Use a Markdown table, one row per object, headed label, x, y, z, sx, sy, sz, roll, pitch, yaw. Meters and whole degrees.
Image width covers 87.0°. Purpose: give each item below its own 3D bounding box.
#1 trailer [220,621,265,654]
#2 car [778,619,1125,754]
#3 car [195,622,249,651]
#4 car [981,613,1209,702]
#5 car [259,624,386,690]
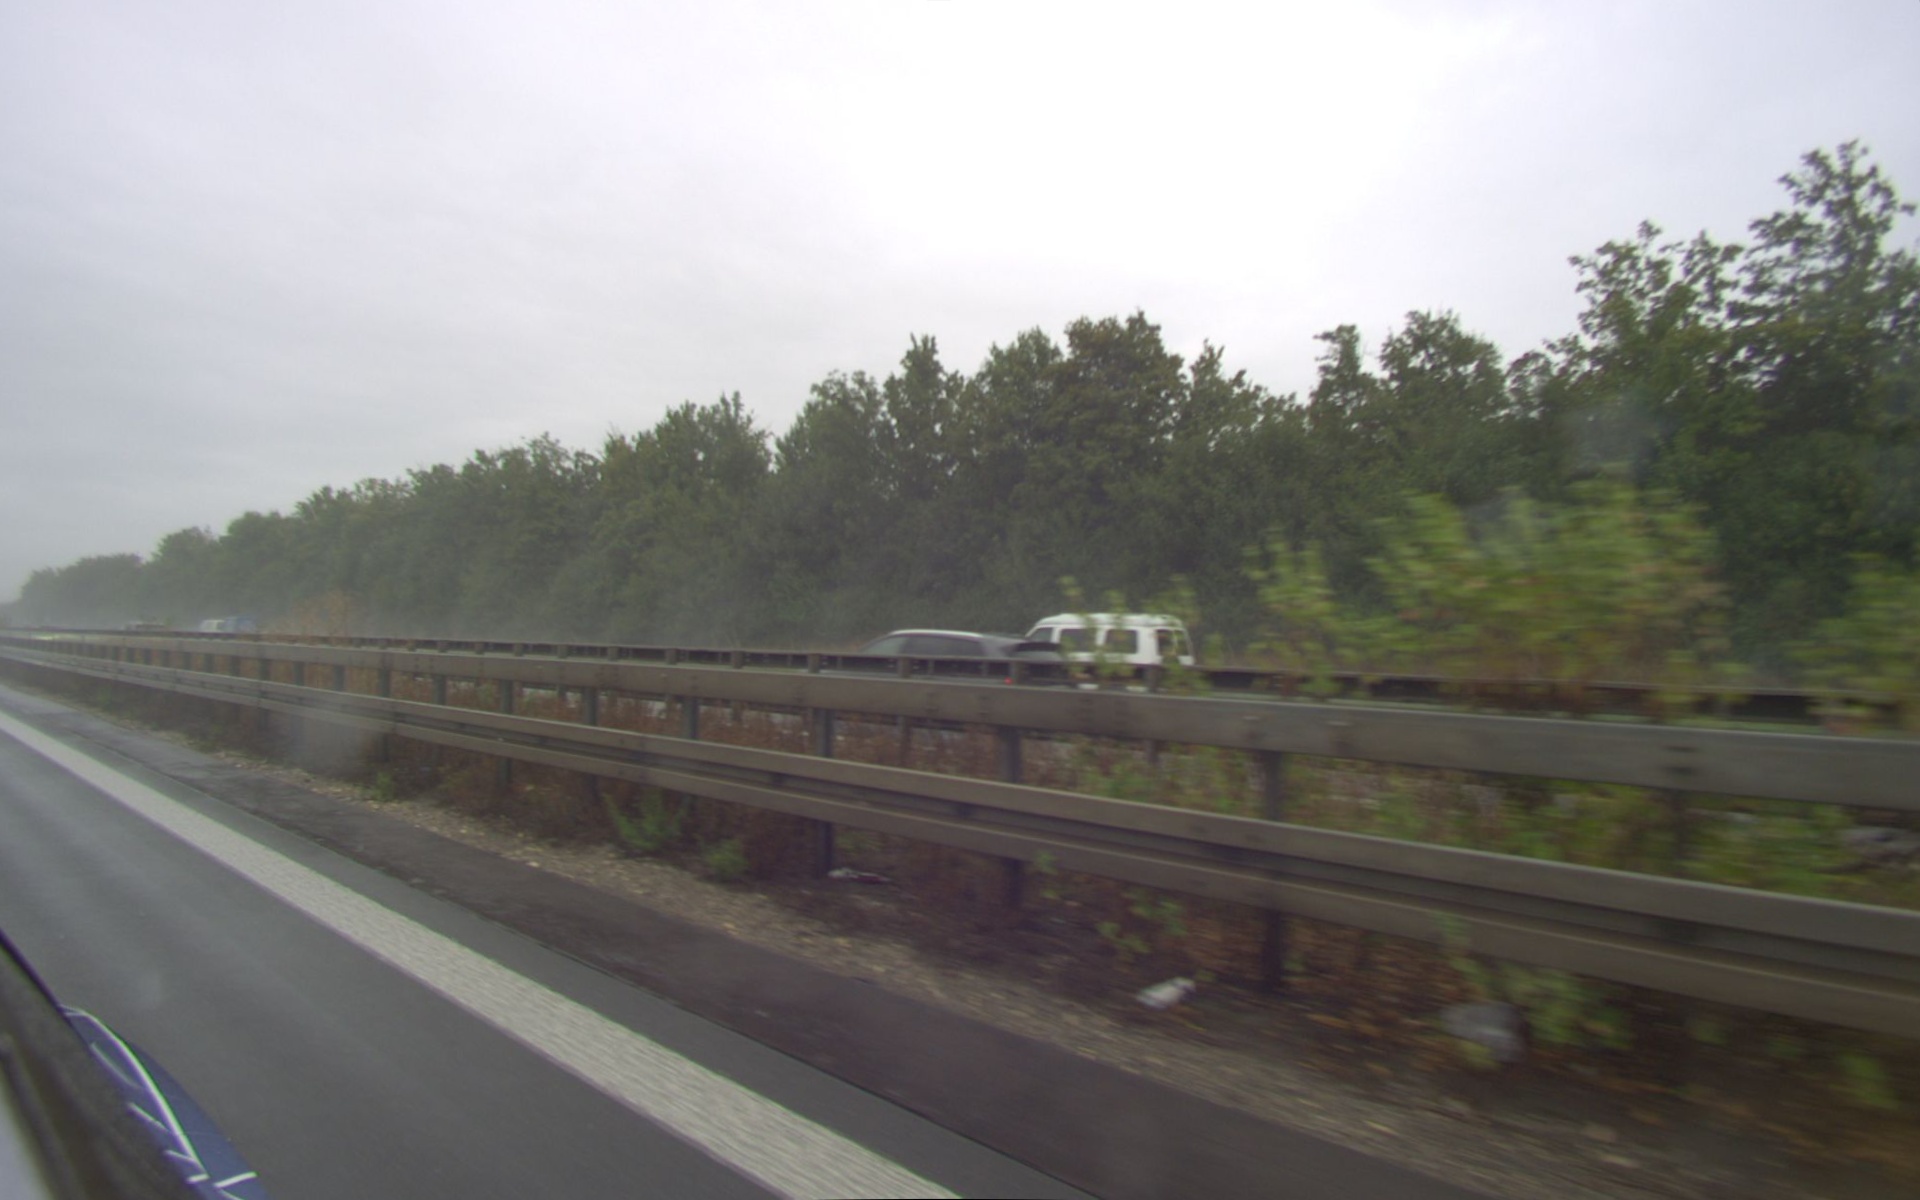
| label | x | y | z | sx | sy | sz | roll | pitch | yaw |
| --- | --- | --- | --- | --- | --- | --- | --- | --- | --- |
| trailer | -46.467 | 2.450 | 65.500 | 4.016 | 2.029 | 1.400 | -3 | -1 | 40 |
| car | -0.222 | 1.026 | 13.740 | 4.514 | 1.462 | 1.974 | 0 | 0 | 39 |
| car | -49.832 | 2.443 | 68.303 | 4.720 | 1.828 | 1.862 | -1 | -1 | 40 |
| car | 2.808 | 1.138 | 21.682 | 4.660 | 1.675 | 1.717 | 0 | 0 | 39 |
| car | -20.670 | 1.764 | 32.741 | 5.071 | 1.873 | 1.974 | 0 | 0 | 39 |
